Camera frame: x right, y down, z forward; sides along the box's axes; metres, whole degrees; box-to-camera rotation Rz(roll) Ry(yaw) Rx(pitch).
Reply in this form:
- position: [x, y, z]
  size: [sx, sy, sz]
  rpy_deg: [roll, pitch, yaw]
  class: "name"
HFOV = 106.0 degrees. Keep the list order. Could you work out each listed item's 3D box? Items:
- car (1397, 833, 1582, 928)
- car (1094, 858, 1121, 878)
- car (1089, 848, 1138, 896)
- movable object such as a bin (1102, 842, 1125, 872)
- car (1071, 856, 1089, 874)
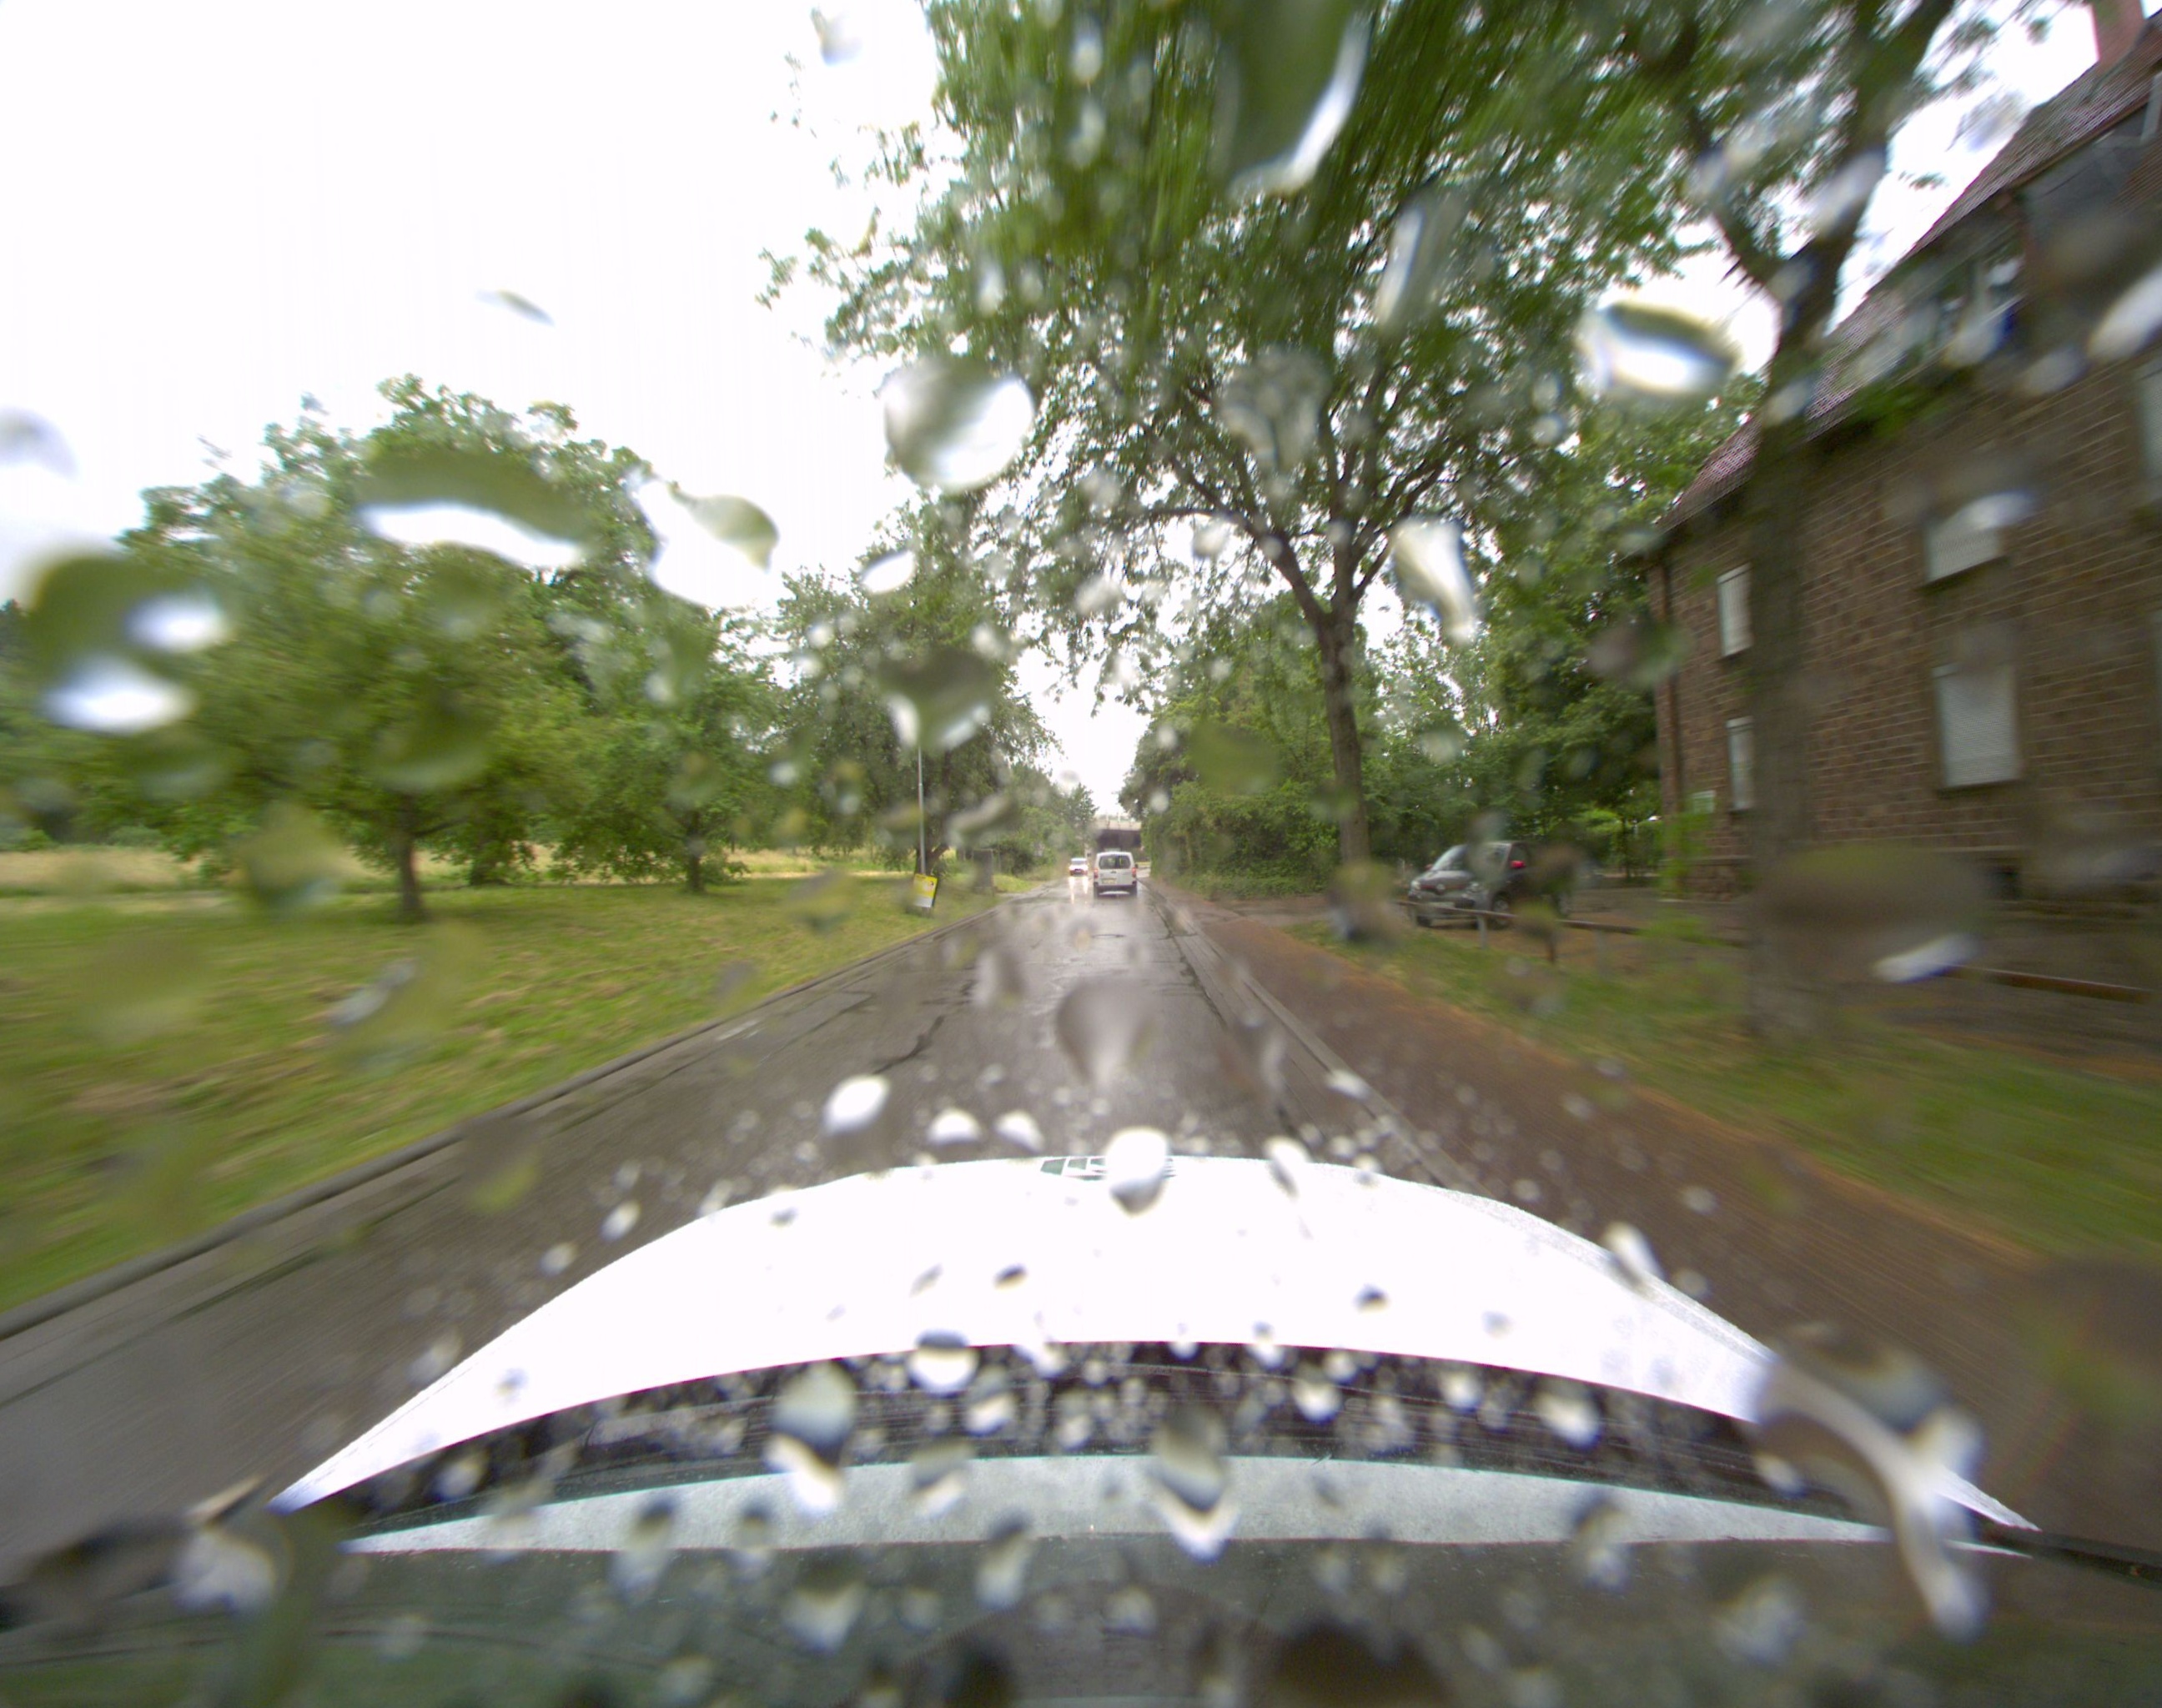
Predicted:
- position: [7.712, 0.447, 15.265]
  size: [3.630, 1.551, 1.604]
  rpy_deg: [-2, -1, -37]
  class: "car"
- position: [1.930, 0.960, 58.628]
  size: [1.700, 1.377, 4.005]
  rpy_deg: [-1, -1, 5]
  class: "car"
- position: [1.398, 0.707, 34.381]
  size: [1.889, 1.807, 4.003]
  rpy_deg: [-2, 0, 3]
  class: "car"
- position: [2.893, 0.255, 71.677]
  size: [1.753, 2.548, 4.244]
  rpy_deg: [-1, -1, 5]
  class: "movable object such as a bin"
- position: [-0.065, 1.114, 83.733]
  size: [1.817, 1.832, 4.307]
  rpy_deg: [-1, -1, 1]
  class: "car"
